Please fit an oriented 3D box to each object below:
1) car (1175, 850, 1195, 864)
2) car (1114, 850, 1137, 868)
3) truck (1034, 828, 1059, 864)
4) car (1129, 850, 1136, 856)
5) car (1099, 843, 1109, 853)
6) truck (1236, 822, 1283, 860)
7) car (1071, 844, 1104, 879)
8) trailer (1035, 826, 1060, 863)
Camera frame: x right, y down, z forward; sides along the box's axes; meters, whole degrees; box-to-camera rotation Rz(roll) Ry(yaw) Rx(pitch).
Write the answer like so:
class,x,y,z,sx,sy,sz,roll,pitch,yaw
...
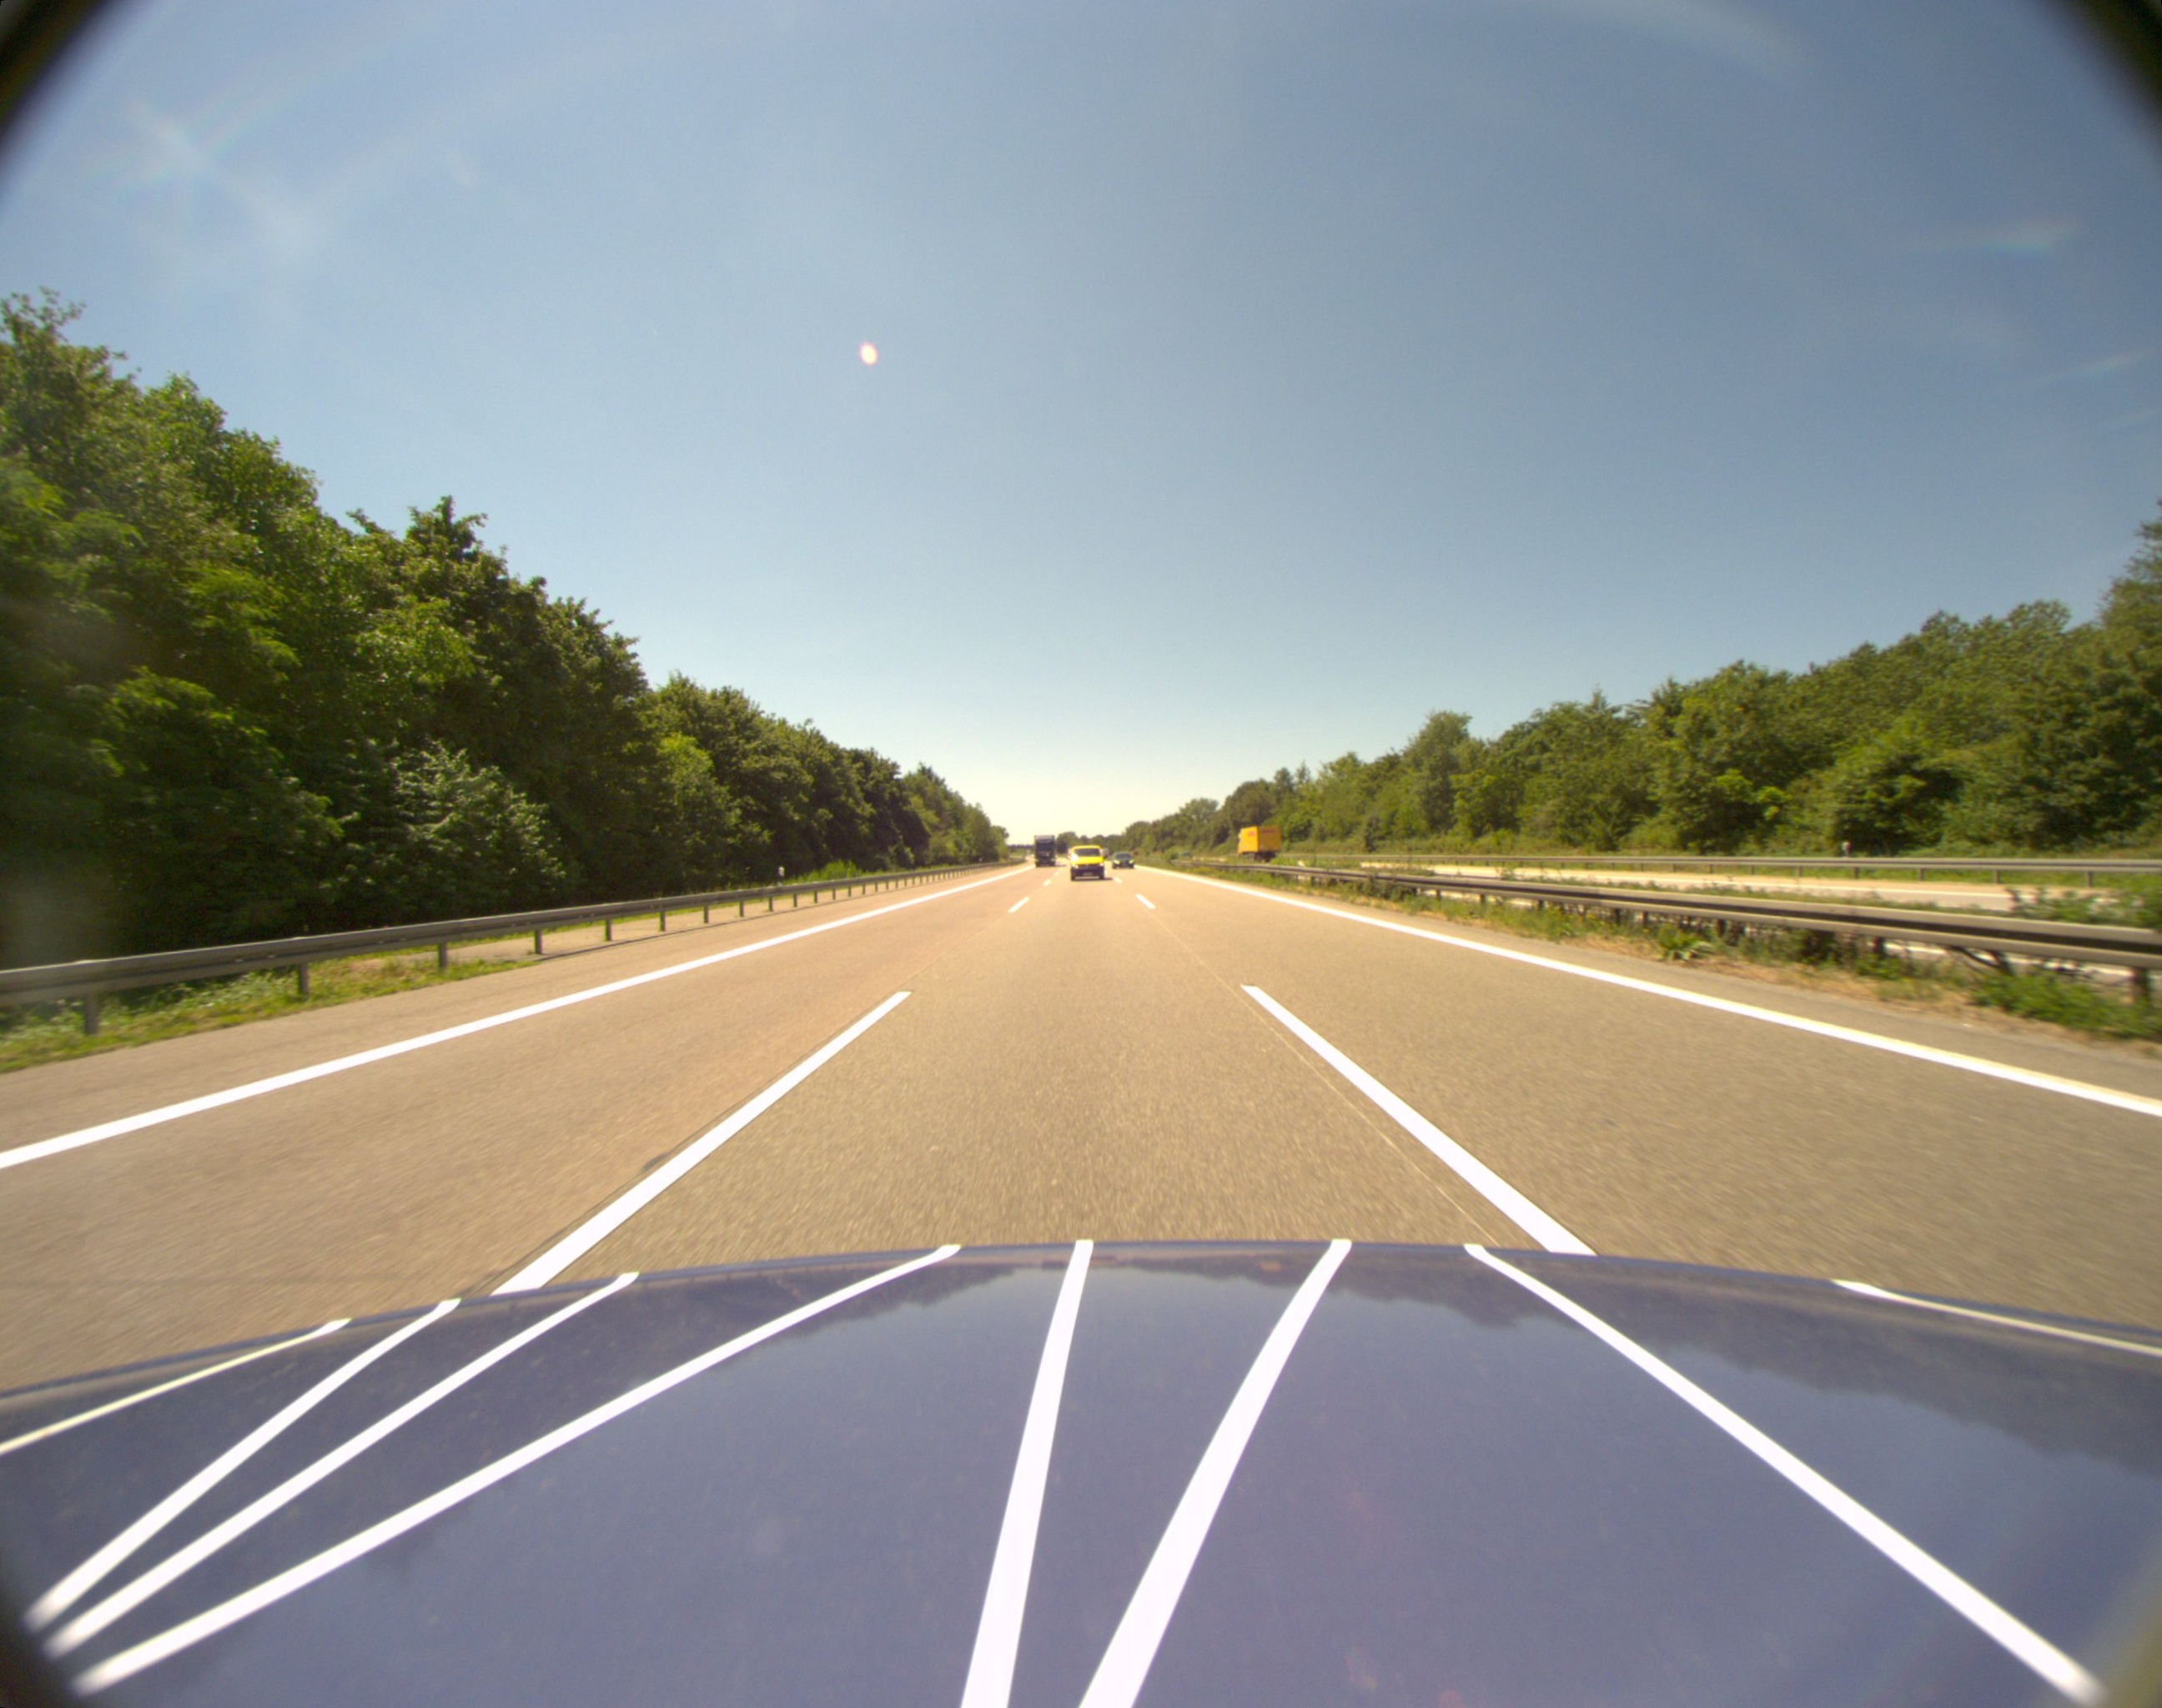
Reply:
class,x,y,z,sx,sy,sz,roll,pitch,yaw
car,12.417,0.334,91.161,1.786,1.562,3.980,-1,0,-1
car,4.003,0.424,68.814,1.726,1.478,3.999,-1,0,0
truck,-4.276,-0.990,95.552,2.916,4.231,4.974,-2,1,-1
car,14.296,-0.252,210.901,1.708,1.766,4.766,-2,0,0
car,6.611,-1.832,219.159,2.094,2.762,5.826,-2,0,-4
truck,20.462,-1.511,87.811,2.756,4.017,10.789,-2,1,0
car,0.311,0.369,43.137,1.777,1.882,3.832,-1,1,-1
trailer,-4.439,-1.245,103.007,2.909,4.630,13.982,-2,0,-1
